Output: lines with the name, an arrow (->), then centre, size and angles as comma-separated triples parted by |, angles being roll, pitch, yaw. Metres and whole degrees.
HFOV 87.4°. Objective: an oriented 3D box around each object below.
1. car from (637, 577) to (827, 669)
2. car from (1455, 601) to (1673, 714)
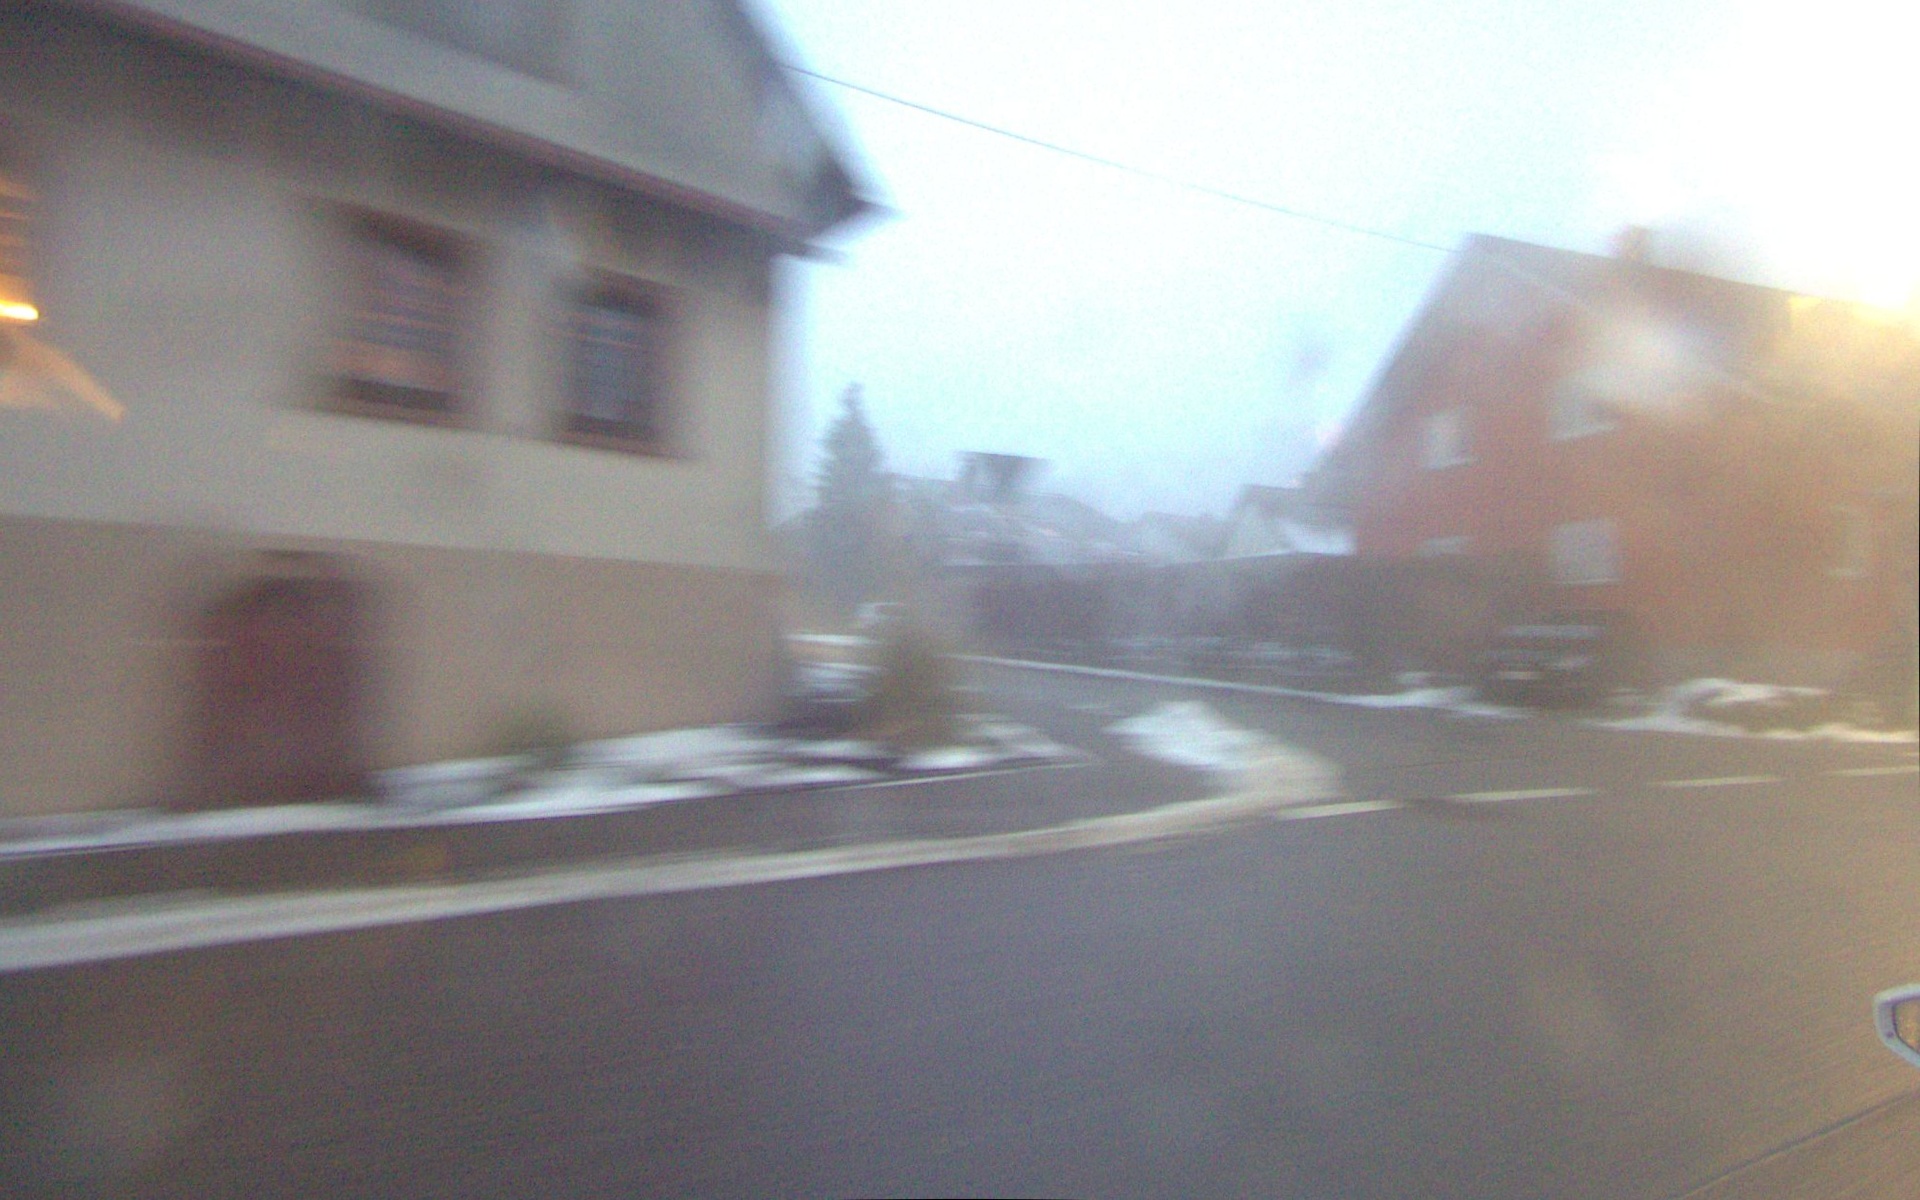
car -> -4.400, 0.402, 18.998 | 1.983, 1.550, 3.956 | 3, -1, -38
car -> 9.572, 0.869, 15.806 | 3.971, 1.524, 1.856 | 3, -1, -42
